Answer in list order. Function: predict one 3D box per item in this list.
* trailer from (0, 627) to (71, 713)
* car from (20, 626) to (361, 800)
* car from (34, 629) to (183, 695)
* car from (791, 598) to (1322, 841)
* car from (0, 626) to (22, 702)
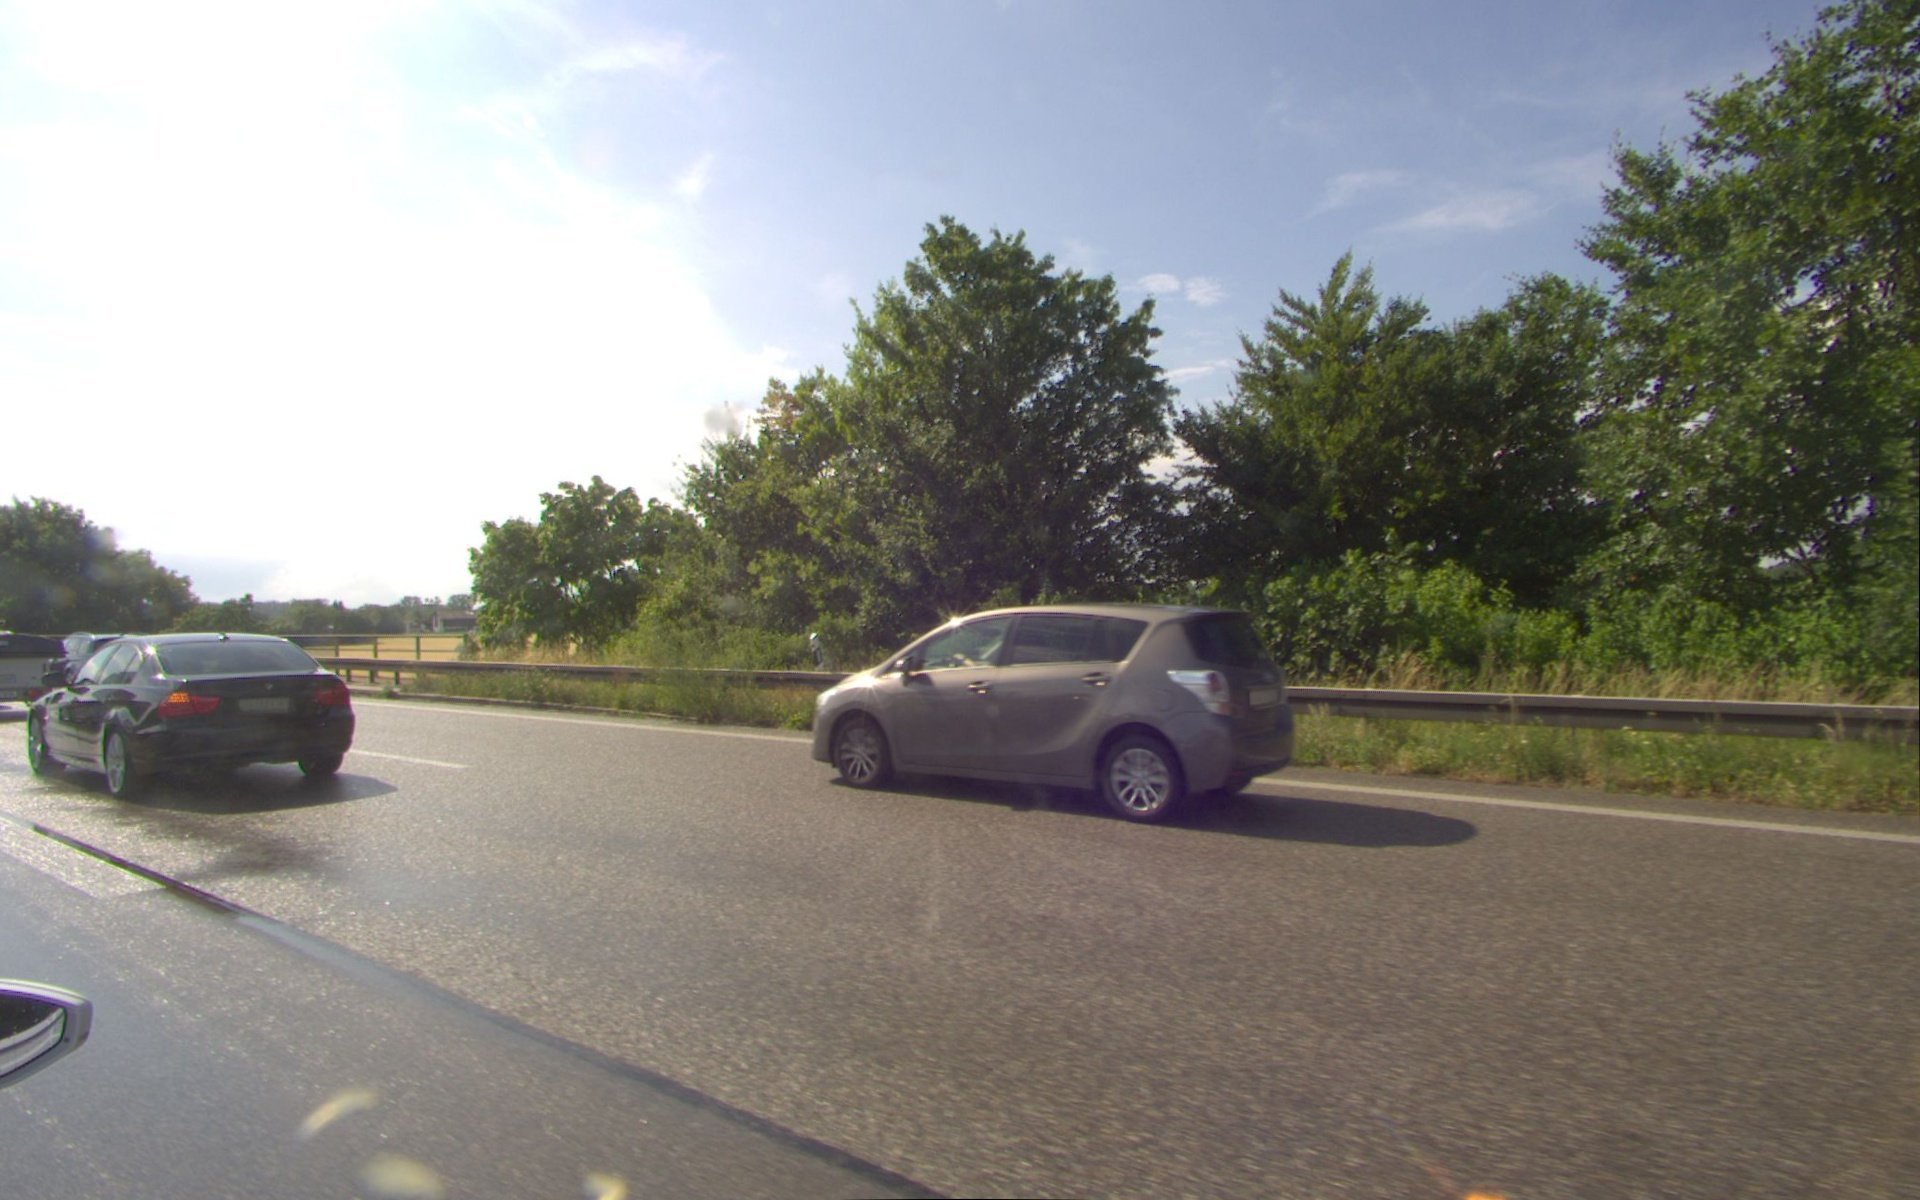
[{"bbox_3d":[-17.936,1.222,18.174,4.093,1.460,1.849,-1,-1,36],"label":"trailer"},{"bbox_3d":[-7.868,0.991,10.151,3.785,1.439,1.735,-1,-1,36],"label":"car"},{"bbox_3d":[-19.974,1.387,23.437,4.234,1.420,1.765,-1,-1,37],"label":"car"},{"bbox_3d":[0.691,0.849,8.731,4.327,1.634,1.783,-1,-1,36],"label":"car"},{"bbox_3d":[-20.667,1.267,20.135,4.201,1.460,1.849,-1,-1,36],"label":"car"}]
